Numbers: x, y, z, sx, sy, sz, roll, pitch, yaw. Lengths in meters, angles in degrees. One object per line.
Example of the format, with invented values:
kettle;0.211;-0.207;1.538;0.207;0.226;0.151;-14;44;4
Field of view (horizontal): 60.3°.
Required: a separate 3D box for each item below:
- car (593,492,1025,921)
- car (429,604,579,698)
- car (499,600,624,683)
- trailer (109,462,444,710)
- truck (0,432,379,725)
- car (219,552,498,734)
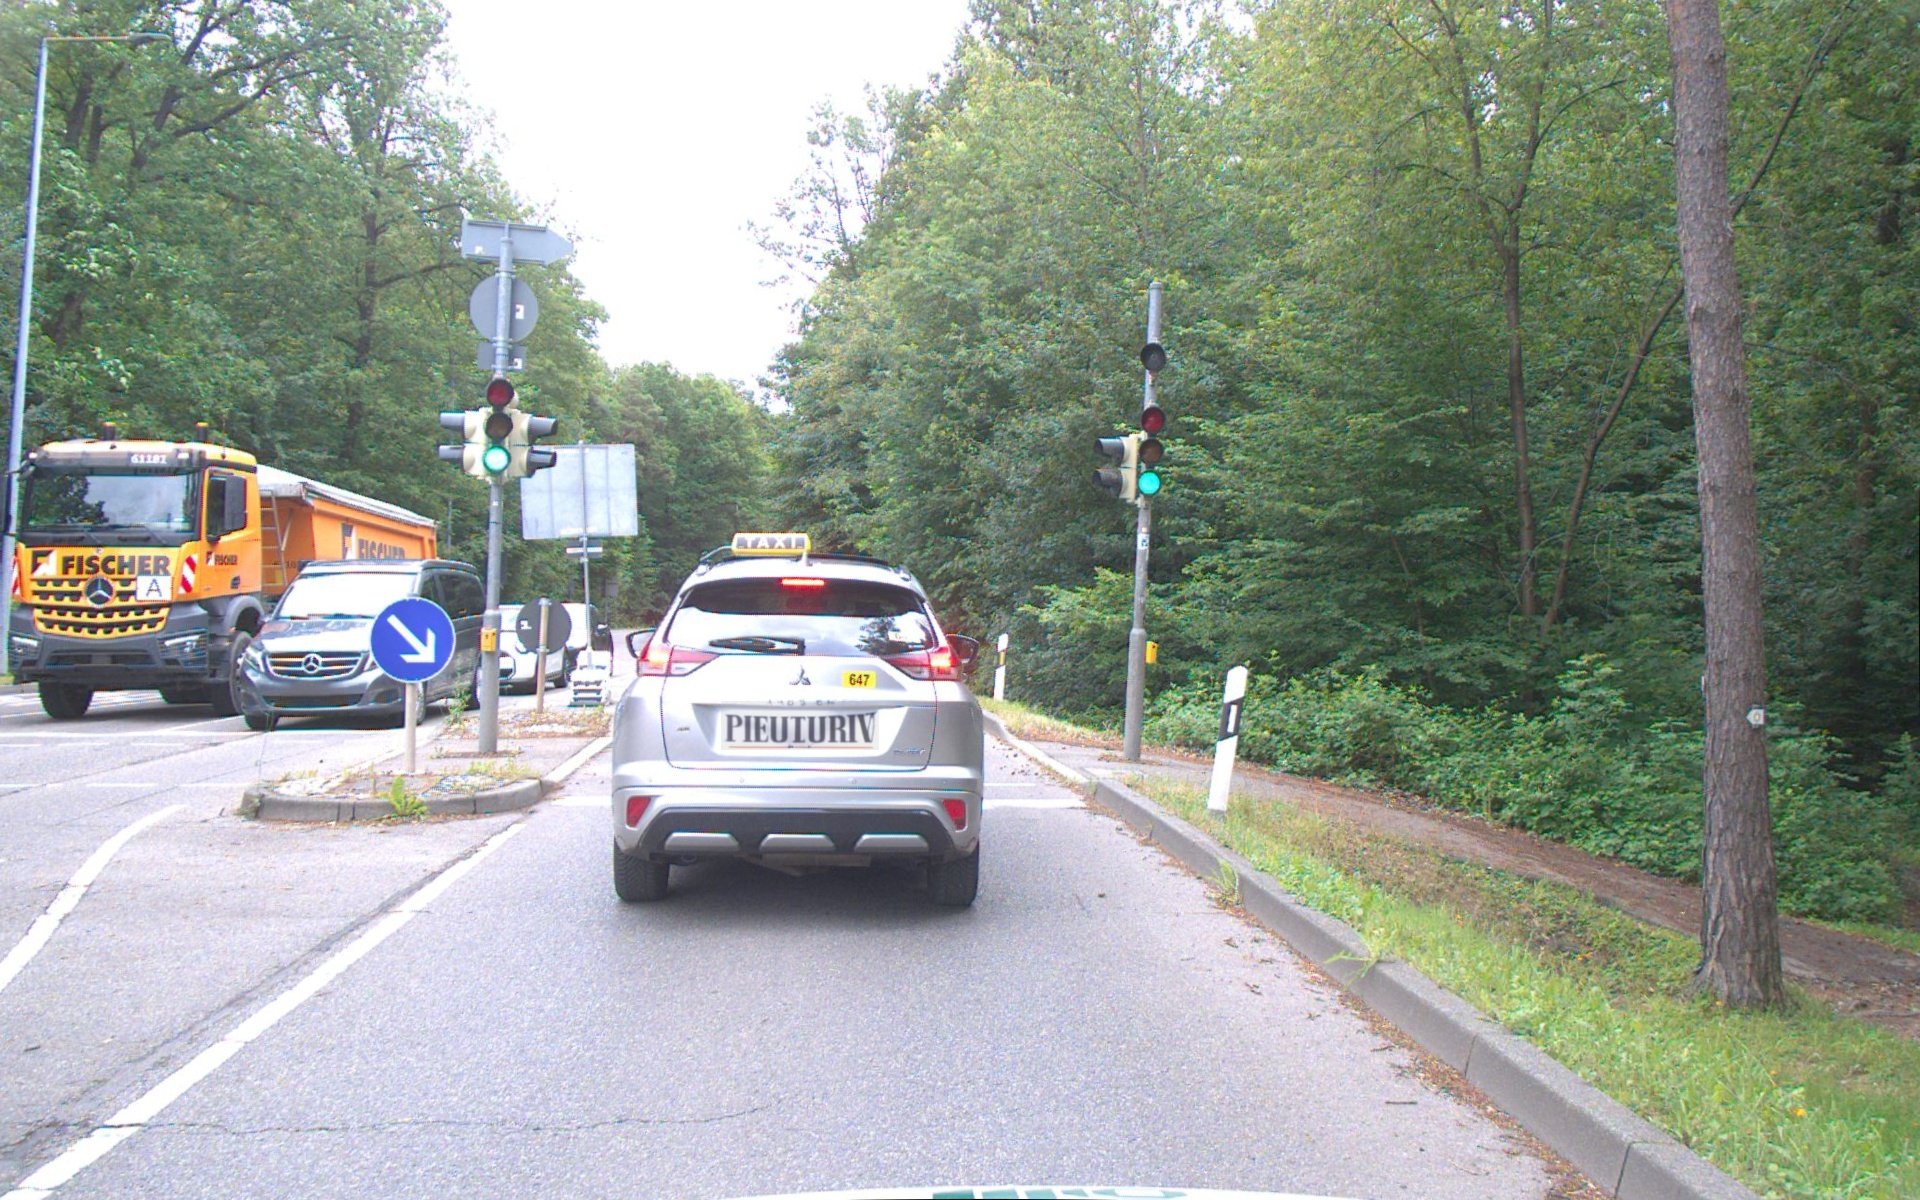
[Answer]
car;-0.861;0.466;9.111;1.811;1.811;3.994;2;0;-7
car;-7.429;0.785;27.254;1.580;1.344;3.719;-1;1;-3
car;-7.970;0.804;33.367;1.775;1.534;3.719;-1;0;-3
trailer;-10.694;-0.139;26.975;2.686;3.376;8.557;0;-1;-6
truck;-10.268;-0.202;22.757;2.686;3.376;7.150;0;-1;-6
car;-7.131;0.475;20.186;1.954;1.927;4.834;-1;-1;-5
